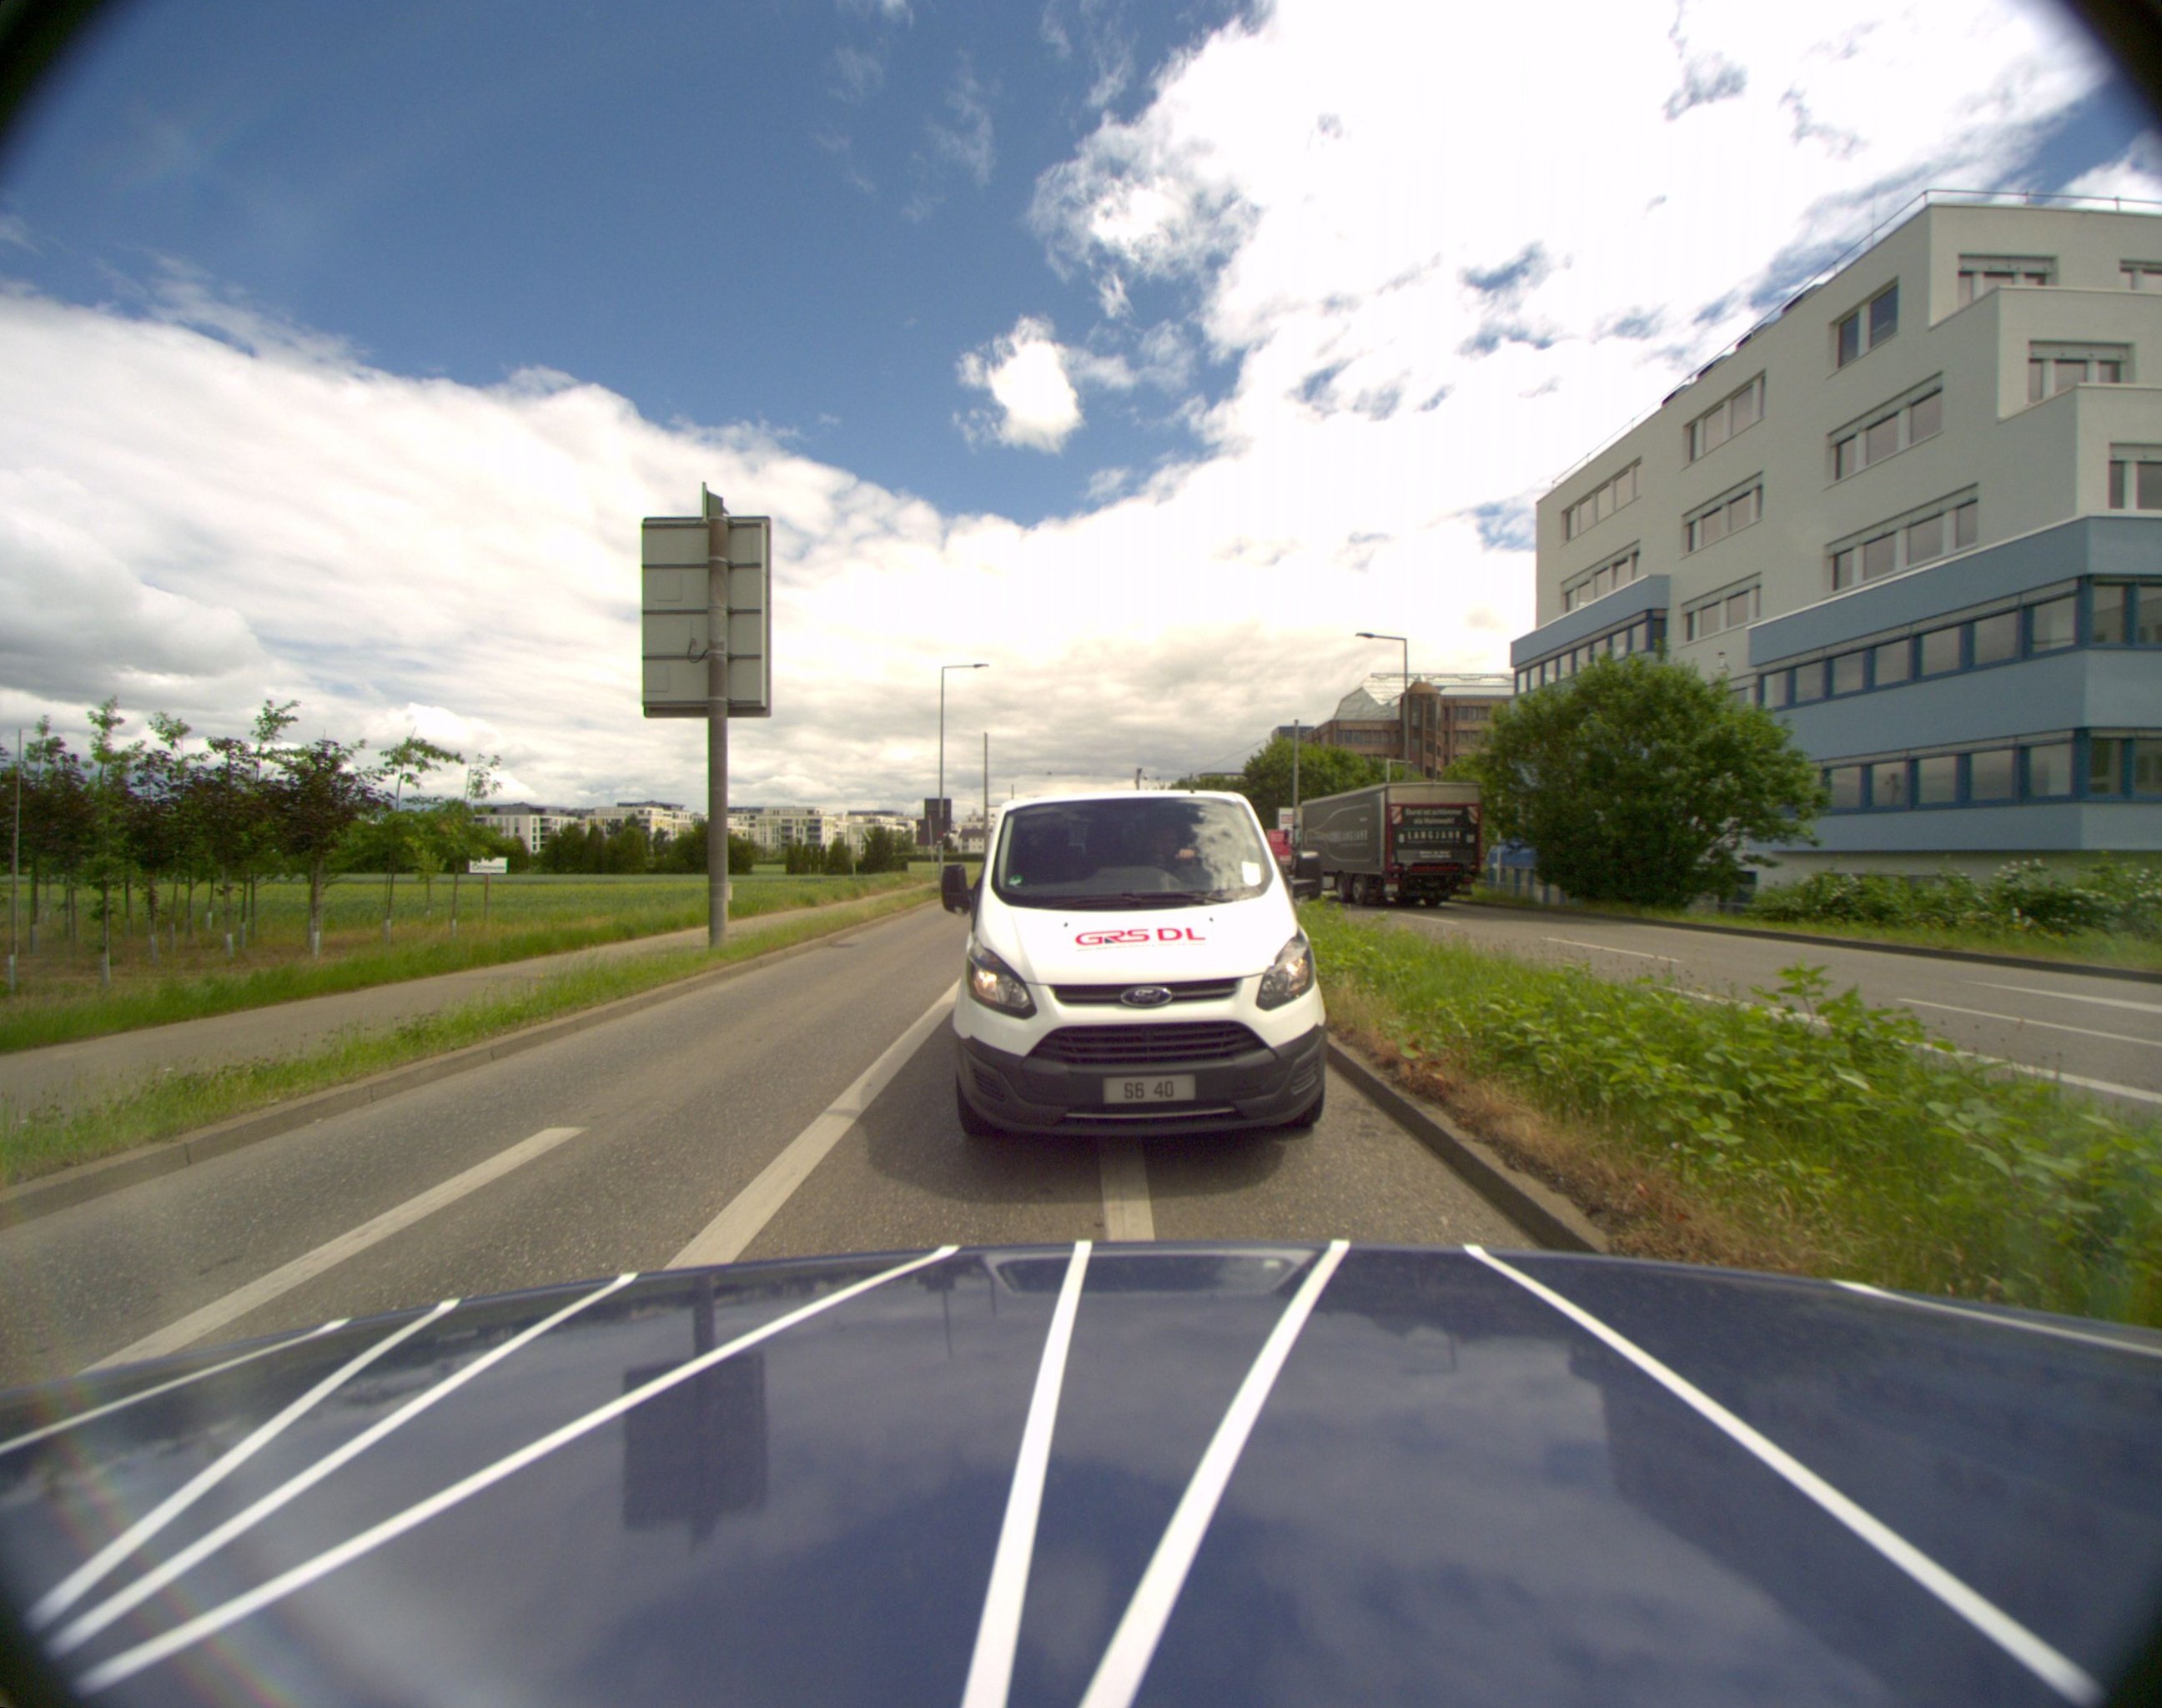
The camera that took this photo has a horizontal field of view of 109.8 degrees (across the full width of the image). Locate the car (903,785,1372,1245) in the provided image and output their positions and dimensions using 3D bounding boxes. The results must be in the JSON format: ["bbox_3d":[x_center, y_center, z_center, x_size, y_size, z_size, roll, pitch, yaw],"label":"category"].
[{"bbox_3d":[0.278,0.694,5.795,1.968,1.938,5.055,-2,0,1],"label":"car"}]

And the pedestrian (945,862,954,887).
[{"bbox_3d":[-9.069,1.404,52.470,0.492,1.693,0.626,-2,1,-1],"label":"pedestrian"}]

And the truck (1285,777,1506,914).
[{"bbox_3d":[9.534,-0.276,24.686,3.176,3.497,9.525,-2,1,0],"label":"truck"}]

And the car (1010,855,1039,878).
[{"bbox_3d":[-3.708,0.815,50.700,1.683,1.410,3.739,-1,1,-1],"label":"car"}]

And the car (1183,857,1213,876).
[{"bbox_3d":[8.573,0.902,55.843,1.558,1.375,3.779,-1,0,-1],"label":"car"}]
